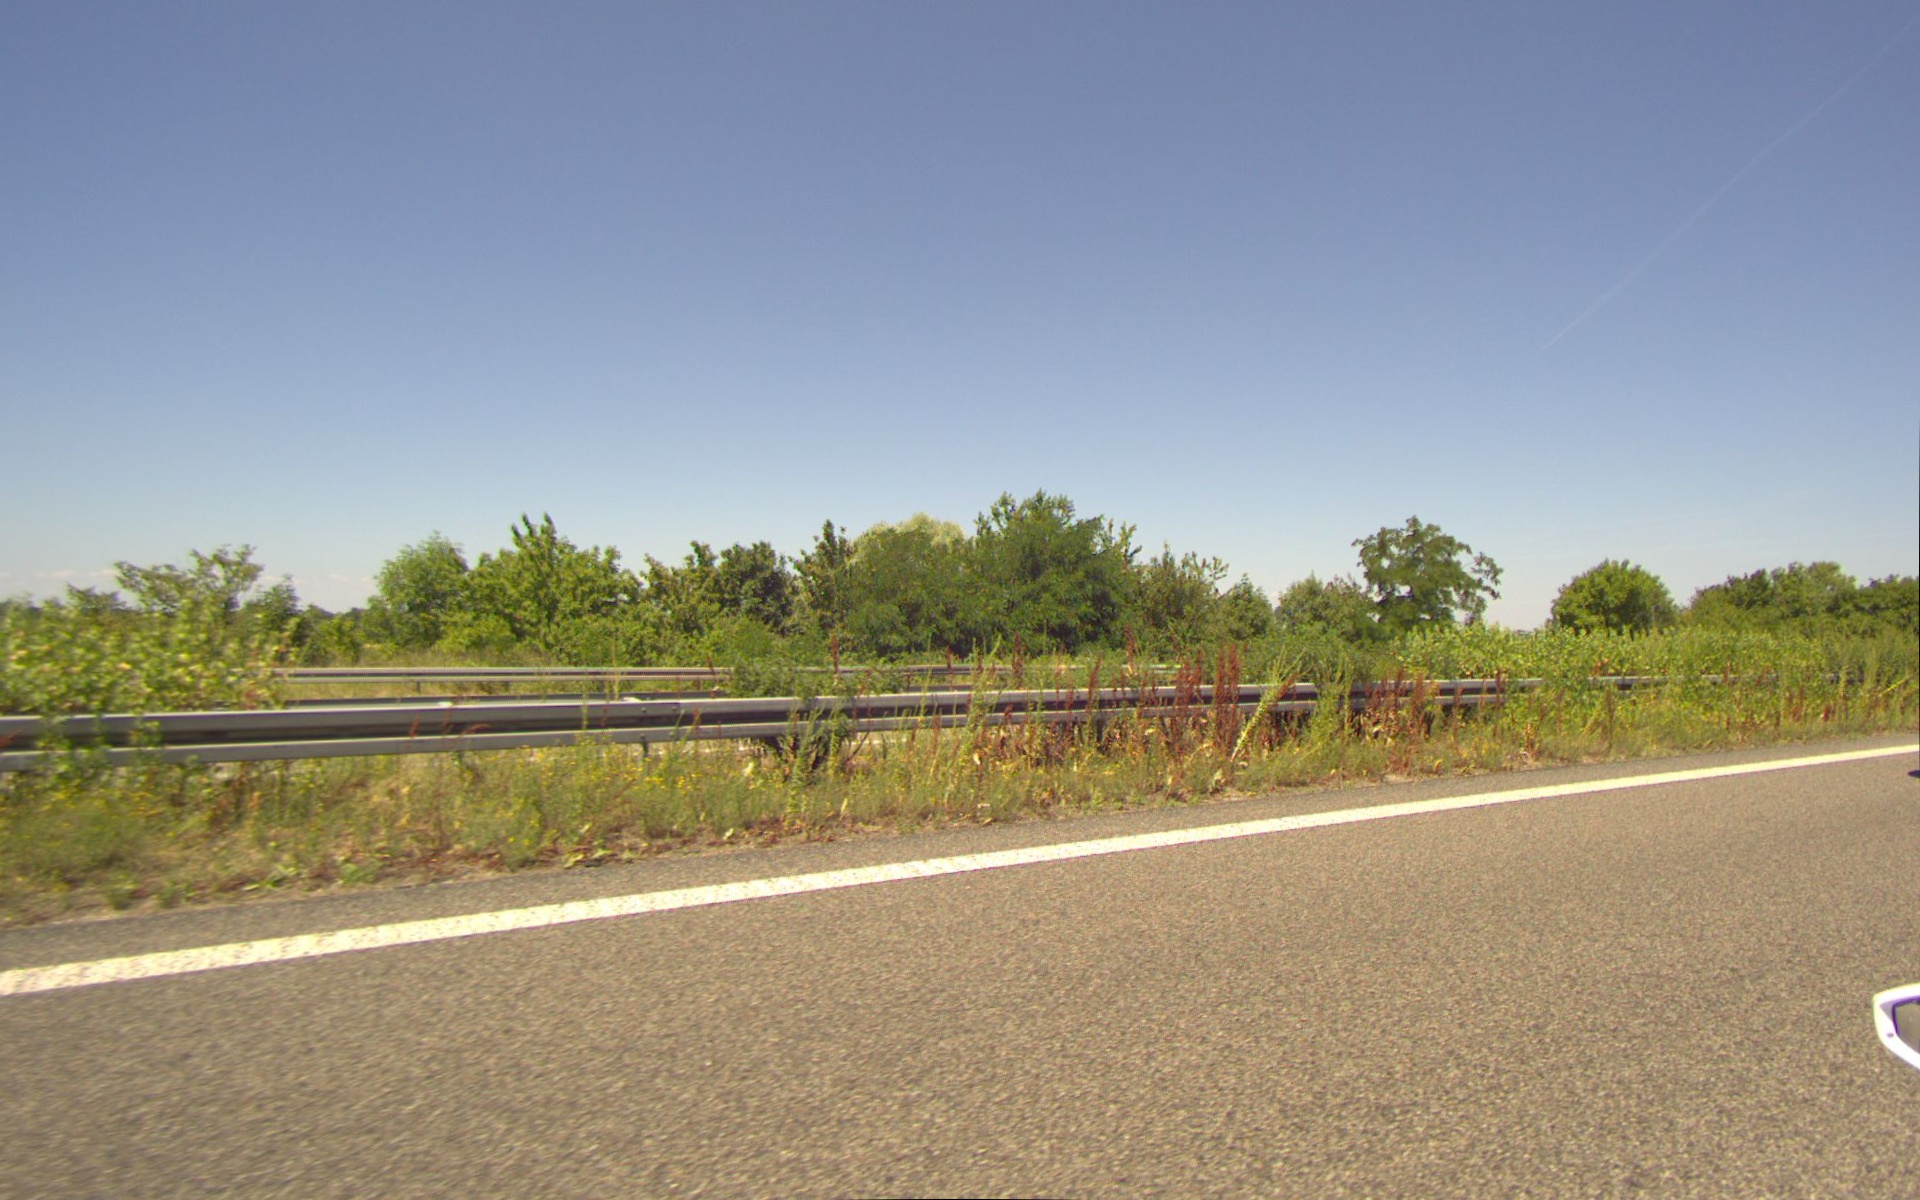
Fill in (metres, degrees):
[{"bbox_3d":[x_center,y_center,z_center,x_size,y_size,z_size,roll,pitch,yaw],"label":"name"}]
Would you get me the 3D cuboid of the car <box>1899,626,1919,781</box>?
[{"bbox_3d":[11.804,1.099,10.504,4.235,1.551,1.751,2,0,-30],"label":"car"}]
